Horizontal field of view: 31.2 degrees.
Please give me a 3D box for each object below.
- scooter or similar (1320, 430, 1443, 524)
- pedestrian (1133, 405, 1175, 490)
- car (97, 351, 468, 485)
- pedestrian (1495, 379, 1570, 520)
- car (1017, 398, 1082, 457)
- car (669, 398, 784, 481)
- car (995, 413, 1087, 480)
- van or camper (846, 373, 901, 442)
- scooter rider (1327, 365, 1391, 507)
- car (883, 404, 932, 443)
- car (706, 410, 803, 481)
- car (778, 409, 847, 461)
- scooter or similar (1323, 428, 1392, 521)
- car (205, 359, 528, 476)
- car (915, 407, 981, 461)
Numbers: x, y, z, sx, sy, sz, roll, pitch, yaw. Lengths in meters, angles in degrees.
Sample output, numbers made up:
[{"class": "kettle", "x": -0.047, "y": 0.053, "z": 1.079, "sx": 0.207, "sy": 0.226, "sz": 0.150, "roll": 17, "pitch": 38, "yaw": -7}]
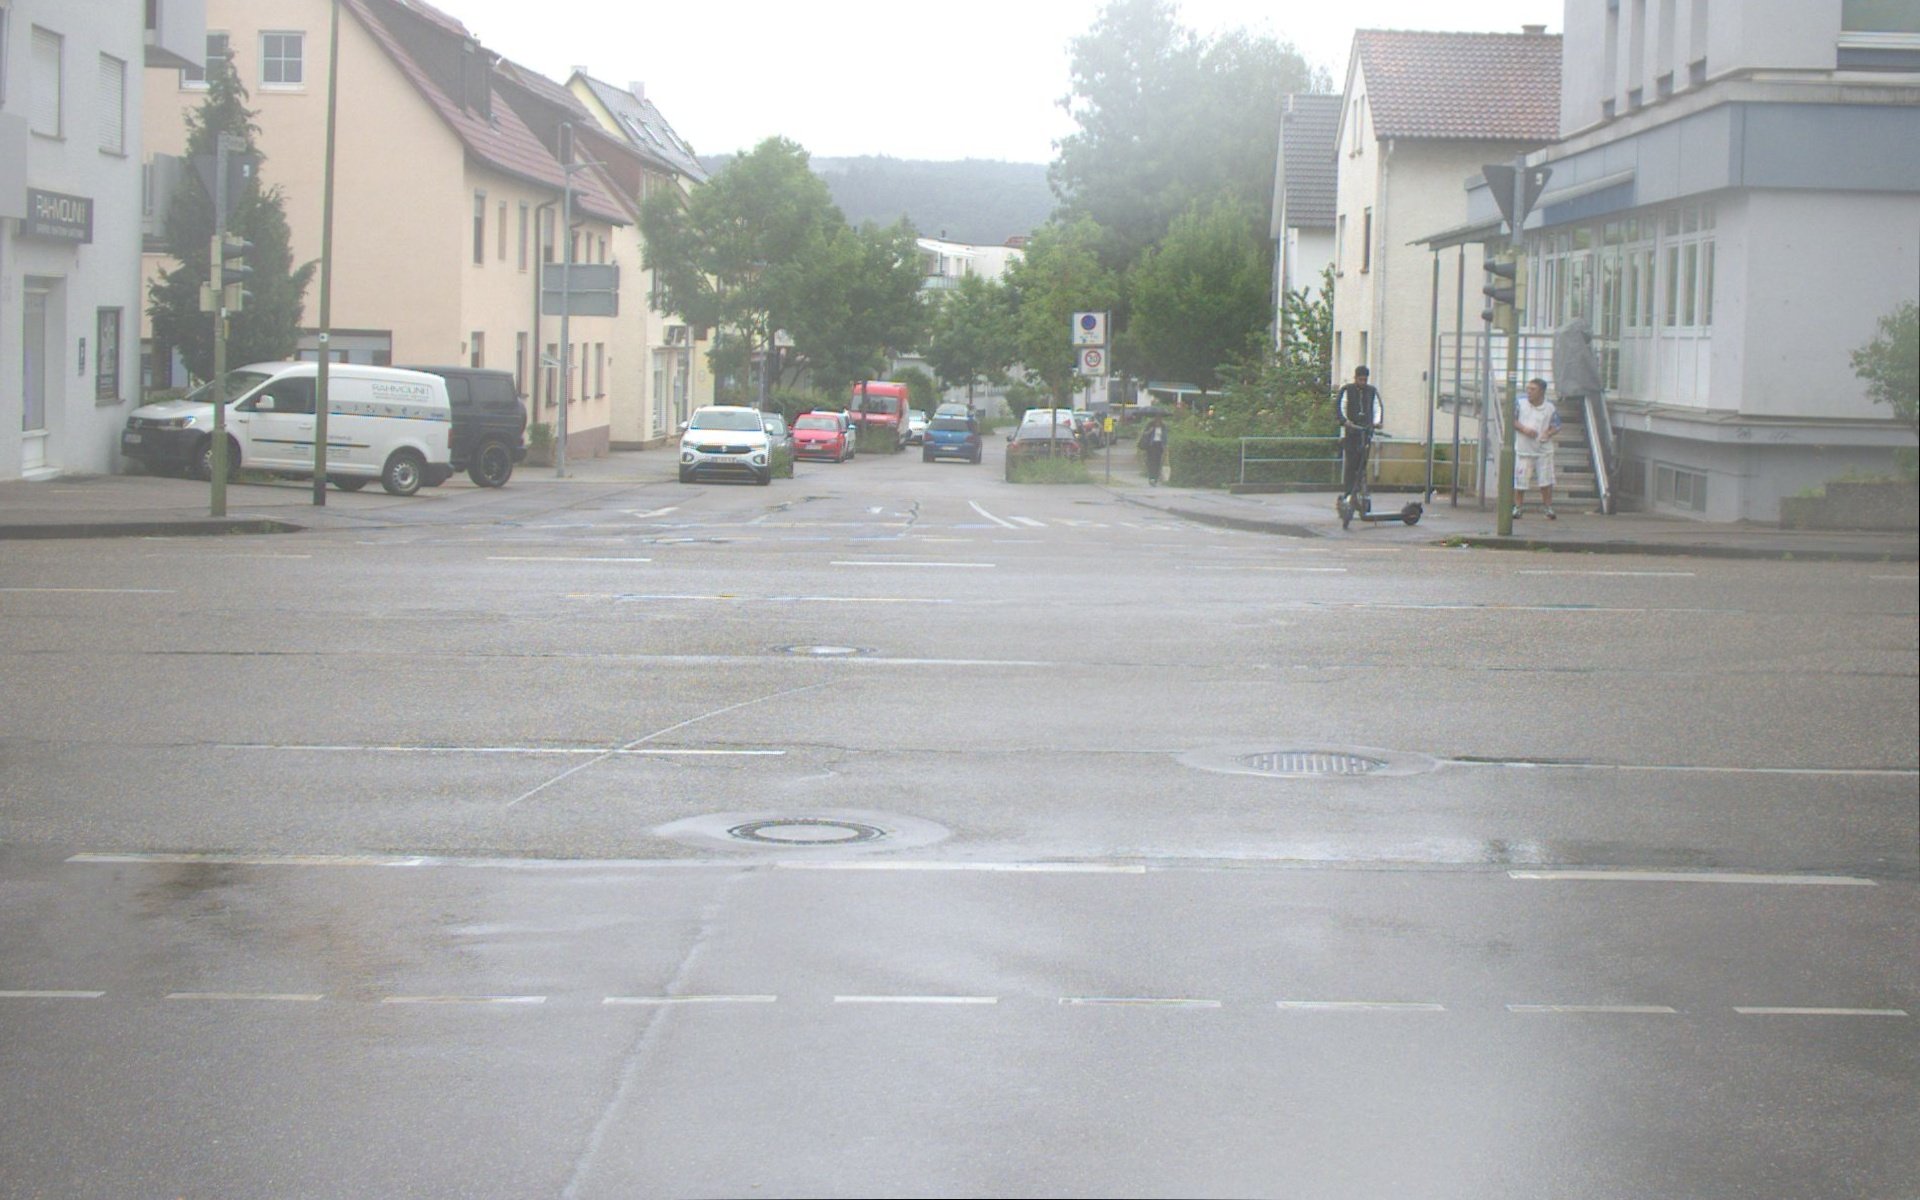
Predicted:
[{"class": "scooter or similar", "x": 4.920, "y": -1.443, "z": 40.204, "sx": 1.268, "sy": 1.077, "sz": 0.877, "roll": 0, "pitch": 3, "yaw": -4}, {"class": "pedestrian", "x": 4.324, "y": -3.405, "z": 76.623, "sx": 0.745, "sy": 1.842, "sz": 0.526, "roll": 4, "pitch": 2, "yaw": -6}, {"class": "car", "x": -9.661, "y": -2.583, "z": 49.206, "sx": 4.830, "sy": 1.829, "sz": 2.000, "roll": -2, "pitch": 3, "yaw": -38}, {"class": "pedestrian", "x": 6.857, "y": -1.801, "z": 41.185, "sx": 0.647, "sy": 1.641, "sz": 0.526, "roll": 4, "pitch": 2, "yaw": -6}, {"class": "car", "x": 2.709, "y": -5.269, "z": 105.115, "sx": 1.901, "sy": 1.739, "sz": 4.192, "roll": 0, "pitch": 3, "yaw": 0}, {"class": "car", "x": -4.688, "y": -3.252, "z": 69.538, "sx": 1.993, "sy": 1.620, "sz": 4.192, "roll": 0, "pitch": 3, "yaw": 0}, {"class": "car", "x": 1.936, "y": -3.723, "z": 83.213, "sx": 2.146, "sy": 1.583, "sz": 4.128, "roll": 0, "pitch": 3, "yaw": 0}, {"class": "van or camper", "x": -3.192, "y": -7.152, "z": 128.040, "sx": 1.901, "sy": 2.504, "sz": 4.239, "roll": 0, "pitch": 3, "yaw": 0}, {"class": "scooter rider", "x": 5.094, "y": -2.097, "z": 43.933, "sx": 0.752, "sy": 1.789, "sz": 0.673, "roll": 0, "pitch": 3, "yaw": 3}, {"class": "car", "x": -2.120, "y": -7.171, "z": 140.154, "sx": 1.901, "sy": 1.553, "sz": 4.192, "roll": 0, "pitch": 3, "yaw": 0}, {"class": "car", "x": -4.804, "y": -3.636, "z": 80.938, "sx": 1.993, "sy": 1.620, "sz": 4.192, "roll": 0, "pitch": 3, "yaw": 0}, {"class": "car", "x": -4.522, "y": -5.086, "z": 105.964, "sx": 1.901, "sy": 1.553, "sz": 4.192, "roll": 0, "pitch": 3, "yaw": 0}, {"class": "scooter or similar", "x": 5.090, "y": -1.619, "z": 44.072, "sx": 0.757, "sy": 1.167, "sz": 1.314, "roll": 0, "pitch": 3, "yaw": 2}, {"class": "car", "x": -9.660, "y": -2.957, "z": 56.170, "sx": 4.830, "sy": 1.829, "sz": 2.000, "roll": -2, "pitch": 3, "yaw": -38}, {"class": "car", "x": -0.406, "y": -5.334, "z": 110.244, "sx": 1.993, "sy": 1.678, "sz": 4.001, "roll": 0, "pitch": 3, "yaw": -2}]
